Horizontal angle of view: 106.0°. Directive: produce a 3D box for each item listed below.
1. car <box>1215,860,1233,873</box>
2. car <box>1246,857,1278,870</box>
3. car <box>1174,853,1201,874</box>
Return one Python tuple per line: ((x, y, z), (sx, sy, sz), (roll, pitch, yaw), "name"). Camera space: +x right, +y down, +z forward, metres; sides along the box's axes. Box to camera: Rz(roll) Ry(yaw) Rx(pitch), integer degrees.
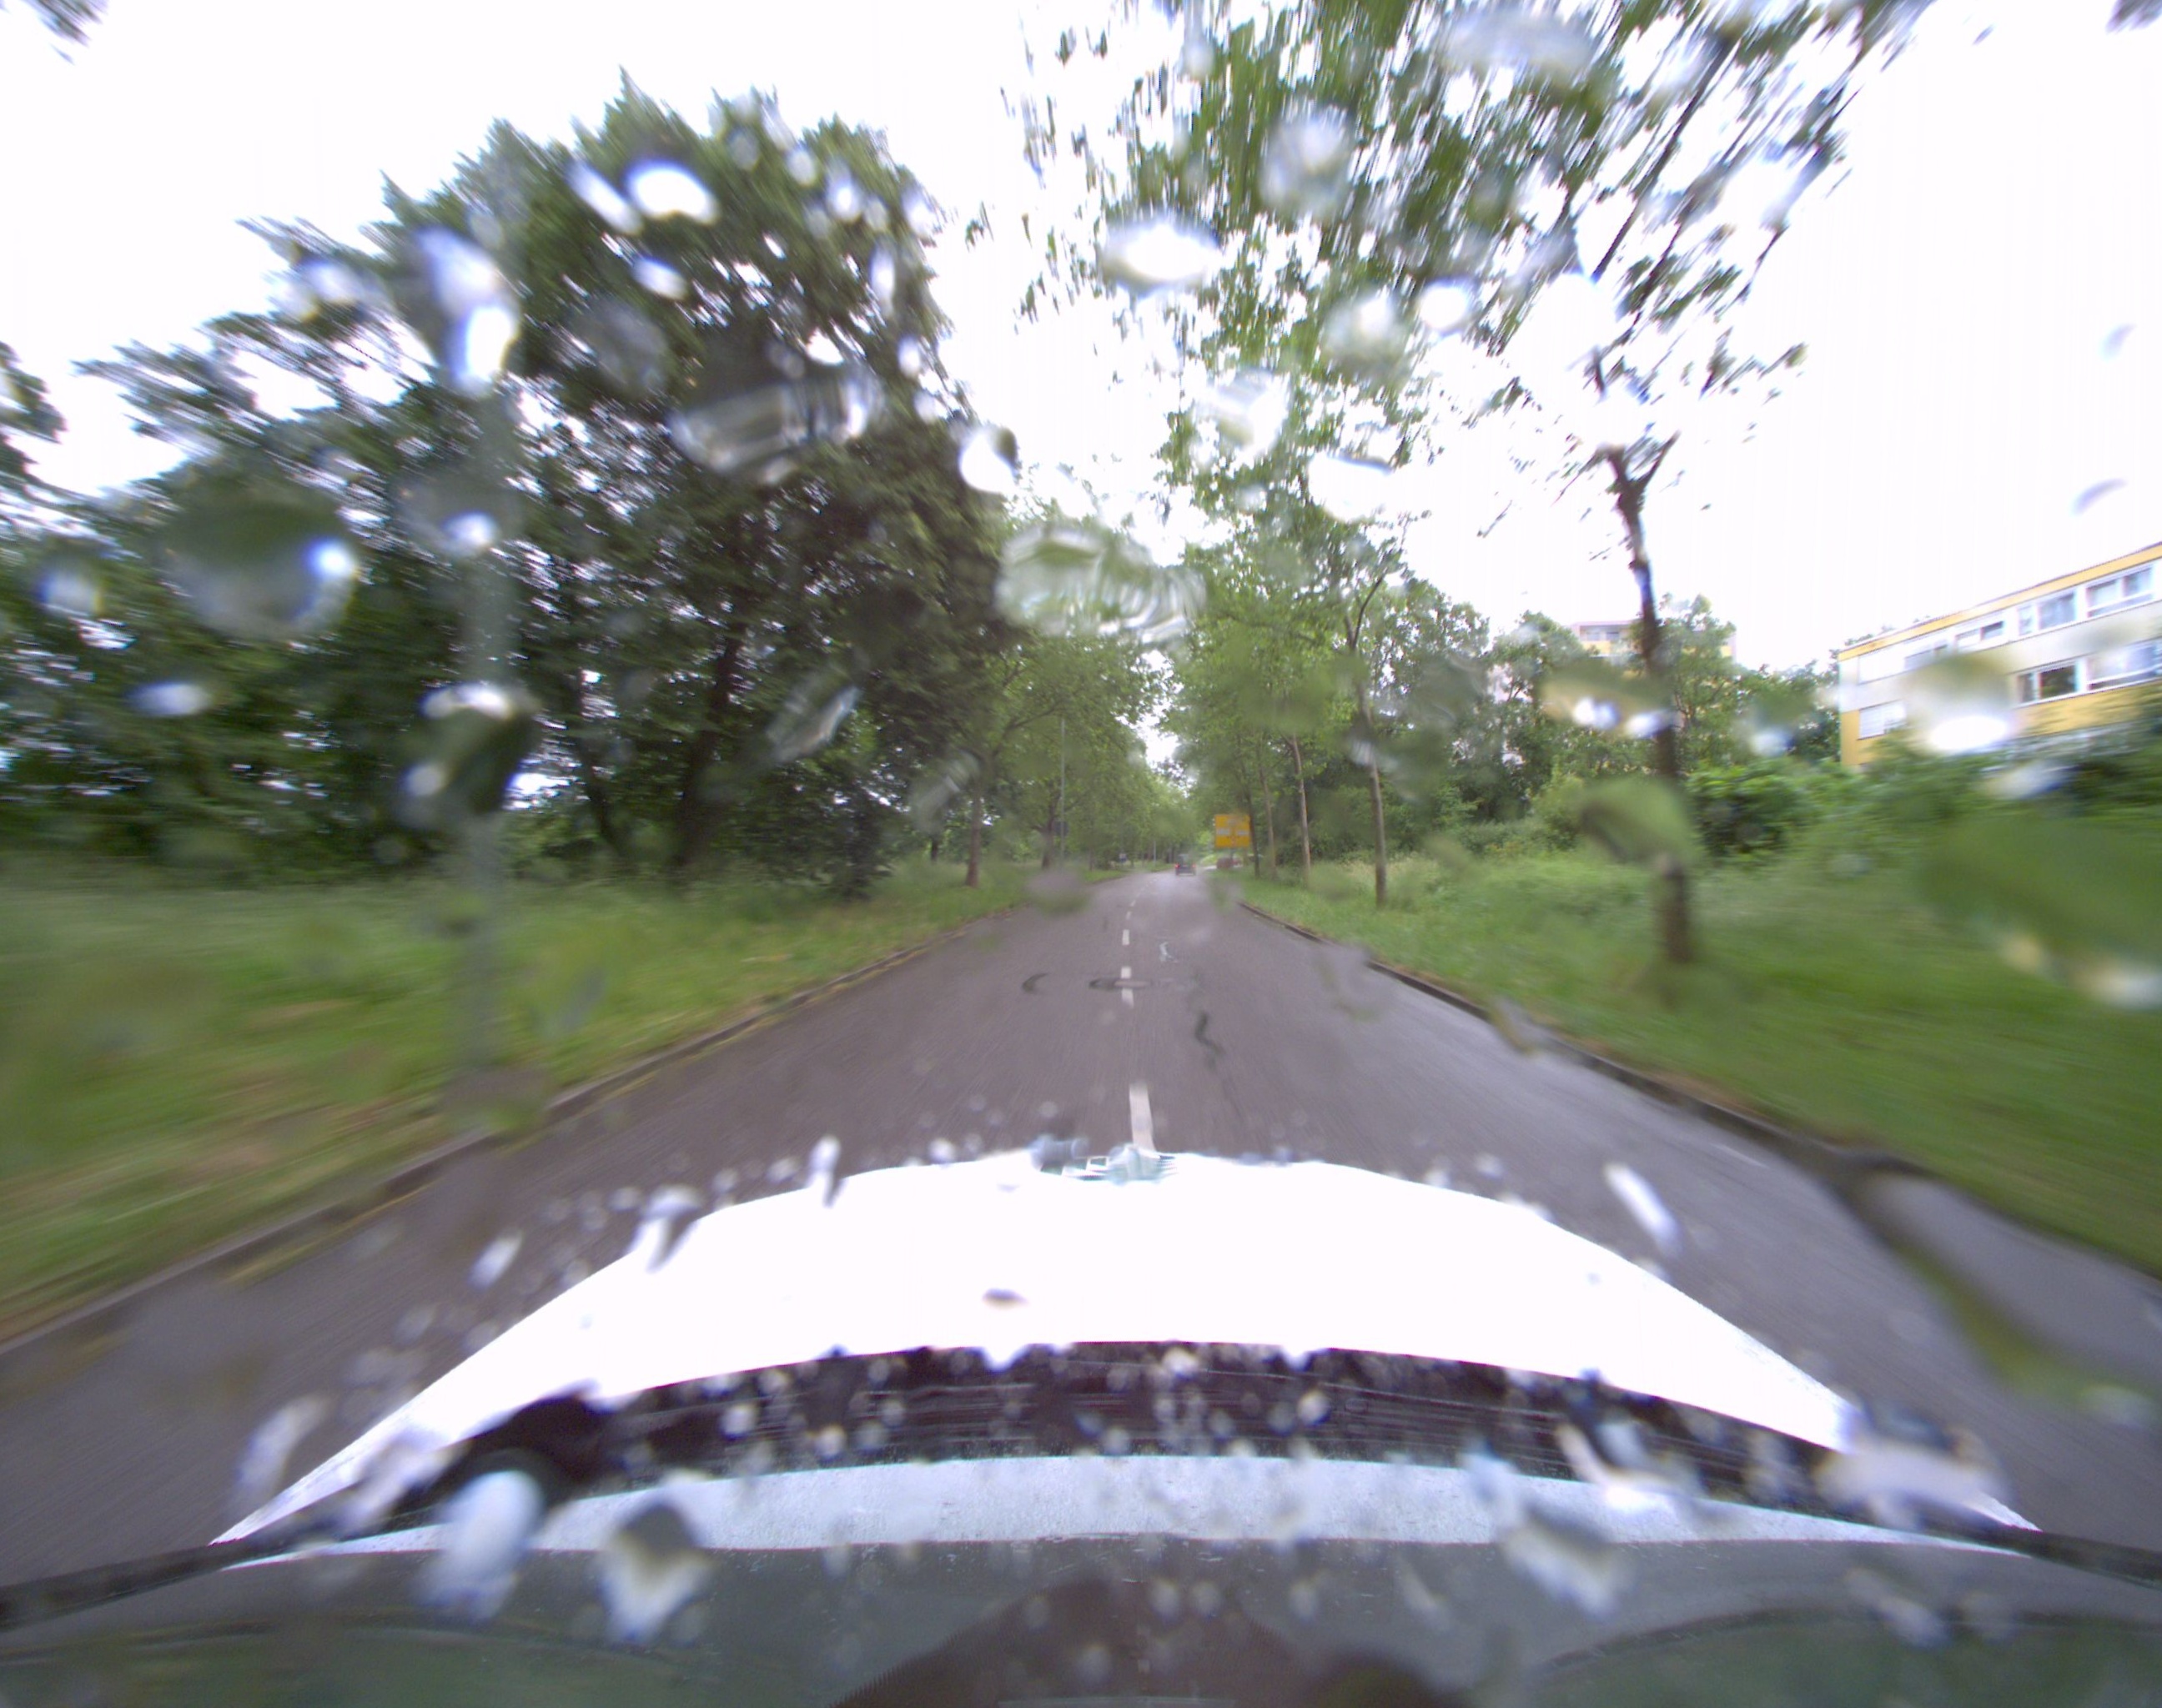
((15.608, 1.362, 88.688), (1.785, 1.372, 3.755), (-2, -1, 11), "car")
((25.366, 1.323, 114.161), (4.440, 1.680, 1.774), (-1, 0, 12), "car")
((9.506, 0.800, 72.497), (1.904, 1.801, 3.804), (-1, 0, 14), "car")
